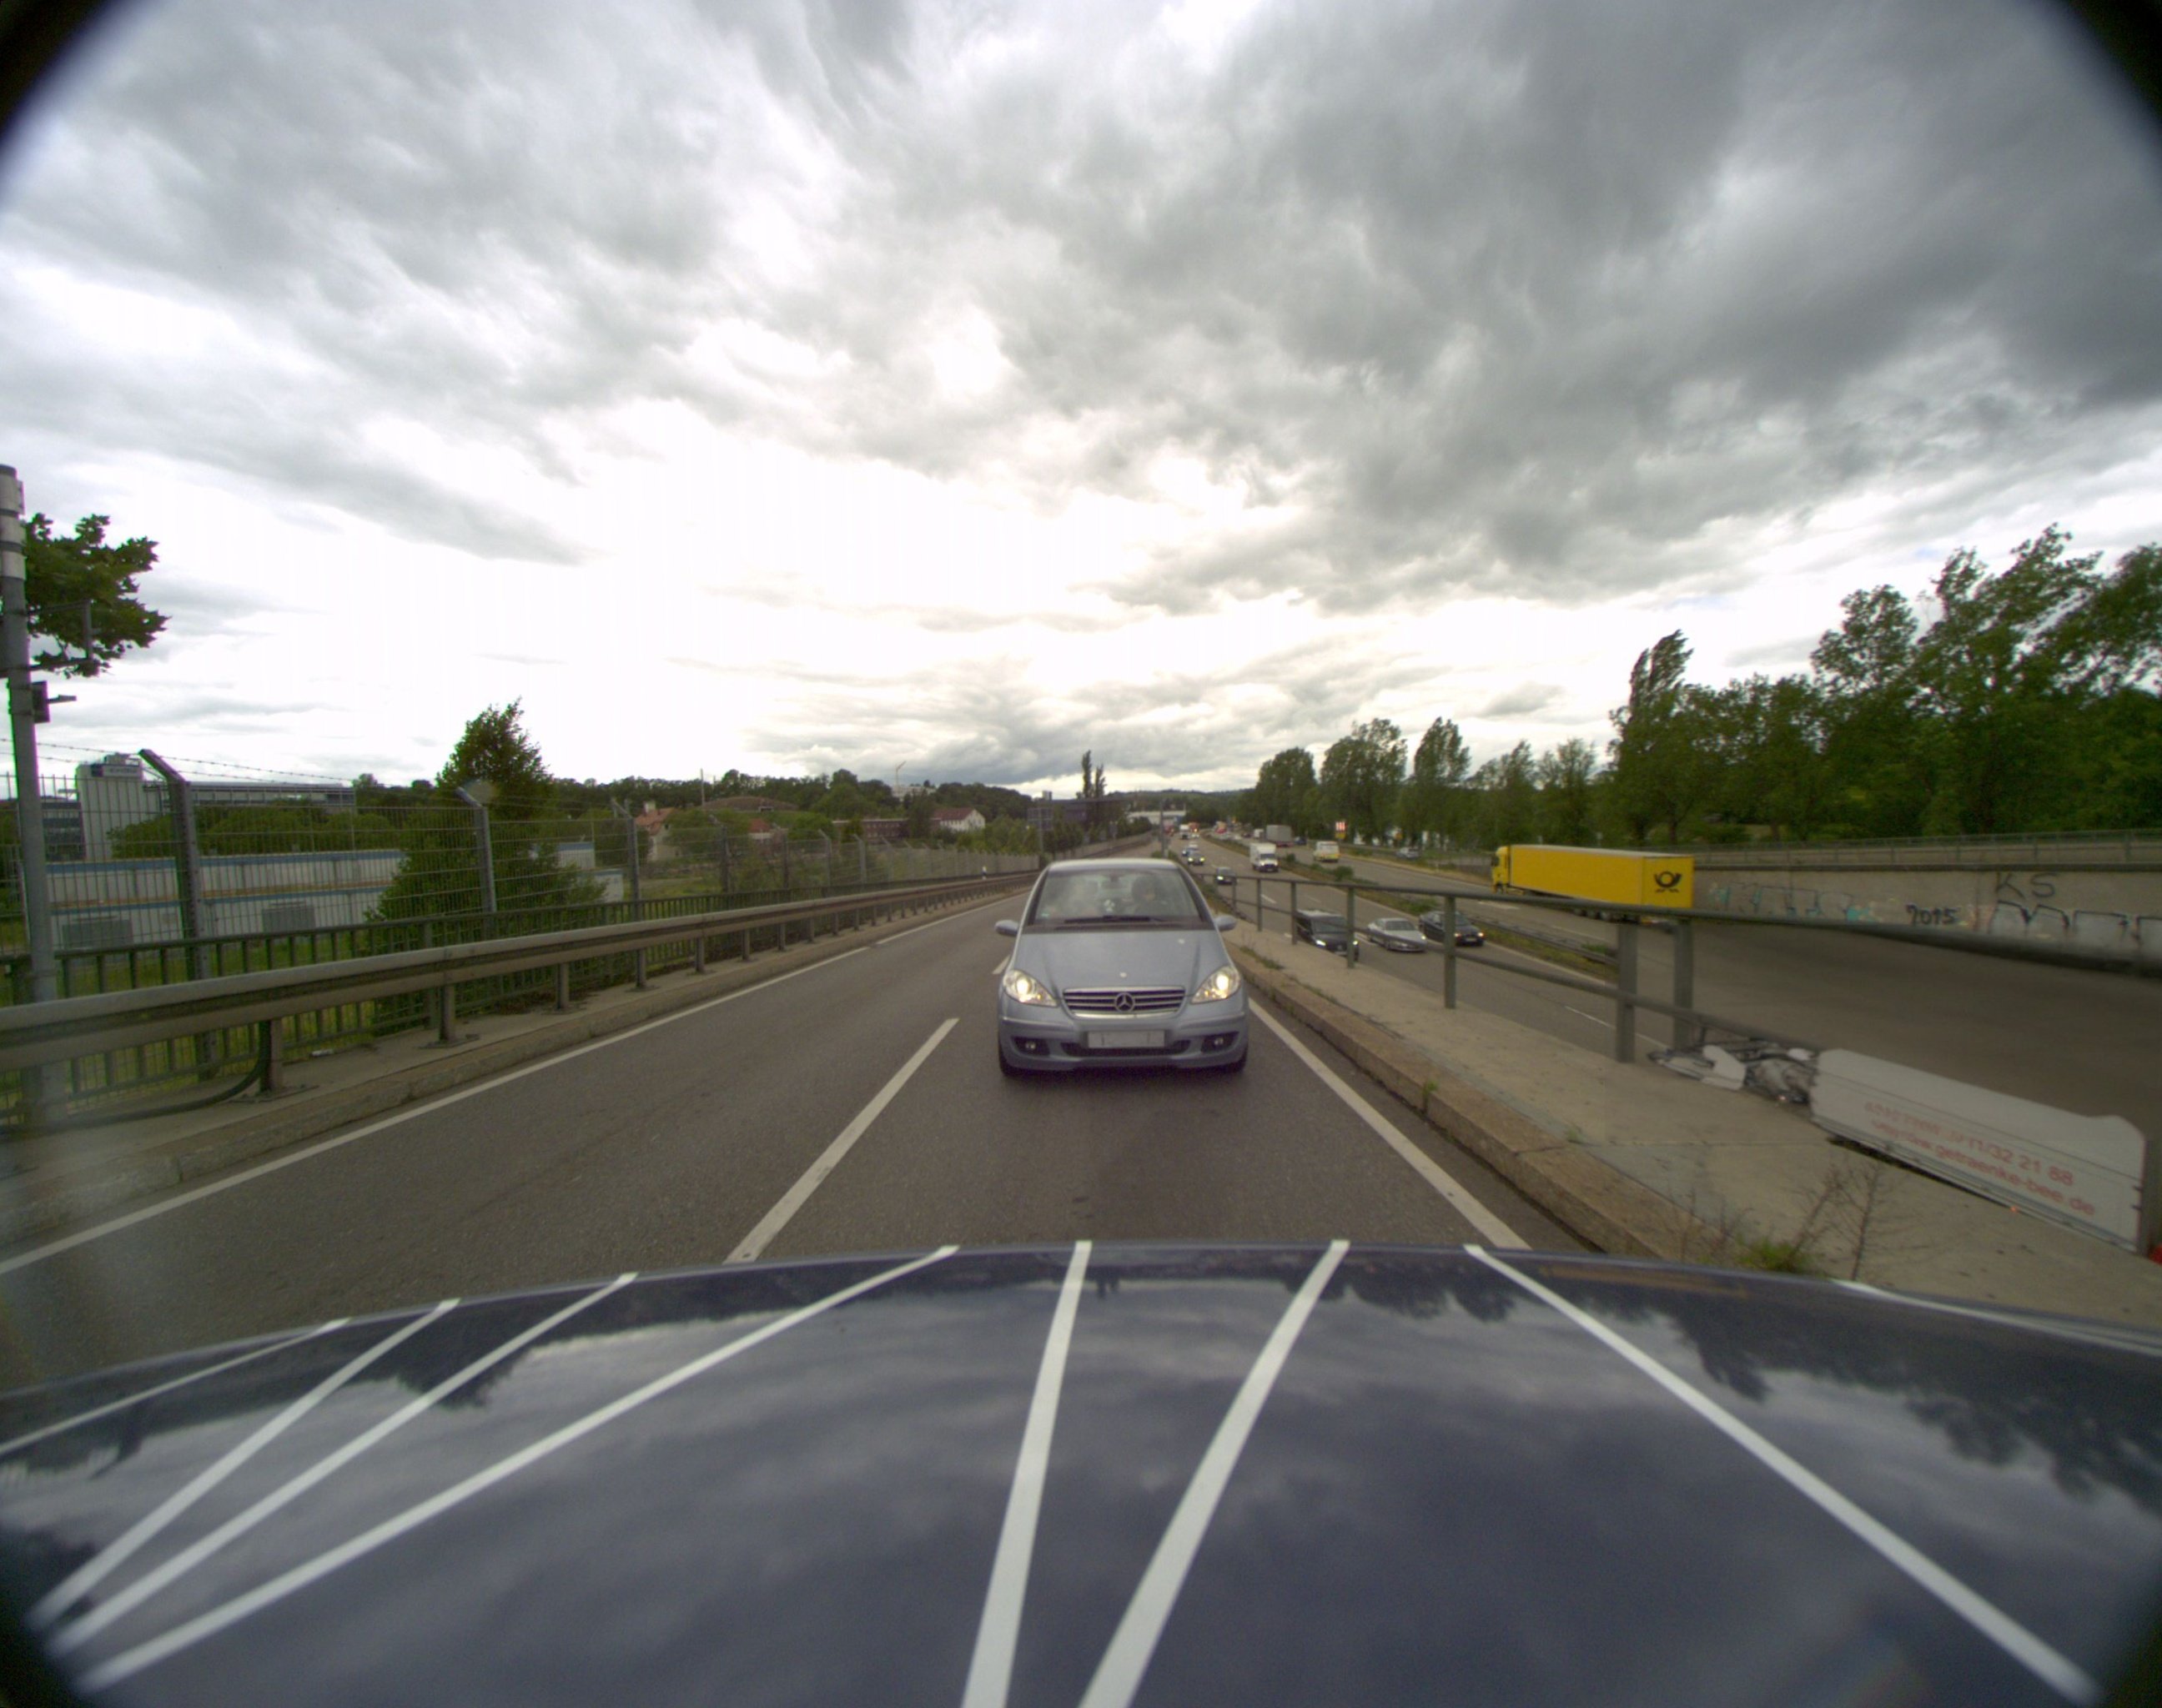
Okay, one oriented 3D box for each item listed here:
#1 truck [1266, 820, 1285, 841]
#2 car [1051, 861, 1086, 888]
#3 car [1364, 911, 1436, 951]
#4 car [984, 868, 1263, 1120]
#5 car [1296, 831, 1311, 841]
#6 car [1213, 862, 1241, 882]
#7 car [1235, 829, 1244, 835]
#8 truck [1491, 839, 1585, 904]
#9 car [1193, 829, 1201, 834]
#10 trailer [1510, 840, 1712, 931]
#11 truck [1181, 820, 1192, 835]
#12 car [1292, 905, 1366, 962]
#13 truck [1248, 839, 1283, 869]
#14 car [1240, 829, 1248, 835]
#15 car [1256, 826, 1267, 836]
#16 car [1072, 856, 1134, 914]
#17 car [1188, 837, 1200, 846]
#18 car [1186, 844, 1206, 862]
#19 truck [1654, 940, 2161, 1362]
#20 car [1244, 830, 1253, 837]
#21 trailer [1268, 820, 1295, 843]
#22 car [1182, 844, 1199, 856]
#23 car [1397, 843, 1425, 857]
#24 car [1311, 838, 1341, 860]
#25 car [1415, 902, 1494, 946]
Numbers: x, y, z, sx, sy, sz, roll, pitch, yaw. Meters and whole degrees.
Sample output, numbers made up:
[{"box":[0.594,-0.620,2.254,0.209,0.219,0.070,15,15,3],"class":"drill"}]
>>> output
[{"box":[40.016,-4.957,156.857,2.793,4.117,5.934,-1,3,4],"class":"truck"},{"box":[-0.756,1.309,50.344,1.800,1.643,4.152,-2,-1,6],"class":"car"},{"box":[15.055,3.610,36.138,1.789,1.294,4.151,0,3,2],"class":"car"},{"box":[0.299,0.925,6.789,1.743,1.534,3.993,-1,0,1],"class":"car"},{"box":[46.268,-3.752,158.164,1.998,1.890,4.583,2,3,5],"class":"car"},{"box":[13.390,1.638,69.900,1.828,1.443,4.125,0,3,1],"class":"car"},{"box":[40.535,-5.579,194.147,1.682,1.412,3.999,0,3,4],"class":"car"},{"box":[31.803,1.102,53.185,3.248,4.159,5.802,0,3,3],"class":"truck"},{"box":[36.167,-7.018,236.353,1.854,1.562,4.436,-1,4,2],"class":"car"},{"box":[31.422,1.529,46.358,3.248,4.239,13.675,0,3,3],"class":"trailer"},{"box":[29.819,-7.588,215.012,3.009,4.087,5.873,0,3,6],"class":"truck"},{"box":[11.011,3.491,34.084,1.998,1.830,4.423,-1,3,2],"class":"car"},{"box":[20.442,-0.052,84.728,2.238,2.993,7.228,-1,3,1],"class":"truck"},{"box":[52.959,-7.227,246.926,1.886,1.807,4.560,2,3,2],"class":"car"},{"box":[49.344,-6.311,207.656,1.998,2.635,5.179,2,3,2],"class":"car"},{"box":[0.703,0.964,25.121,1.830,1.701,4.001,-2,-1,1],"class":"car"},{"box":[20.424,-2.207,137.291,1.769,1.520,3.334,0,3,1],"class":"car"},{"box":[14.483,-0.124,95.855,1.998,2.003,3.999,1,3,3],"class":"car"},{"box":[13.746,3.841,11.461,2.889,3.506,9.868,1,3,2],"class":"truck"},{"box":[50.204,-6.116,227.984,1.886,1.807,4.560,2,3,2],"class":"car"},{"box":[39.505,-4.562,150.149,2.793,4.117,13.759,-1,3,4],"class":"trailer"},{"box":[16.833,-0.623,116.822,1.998,1.524,3.998,0,3,1],"class":"car"},{"box":[42.113,-0.502,97.069,1.897,1.643,4.377,-3,2,3],"class":"car"},{"box":[31.910,-0.667,99.156,1.998,2.614,6.711,1,3,3],"class":"car"},{"box":[18.341,3.399,37.583,1.863,1.457,4.423,-2,3,2],"class":"car"}]
